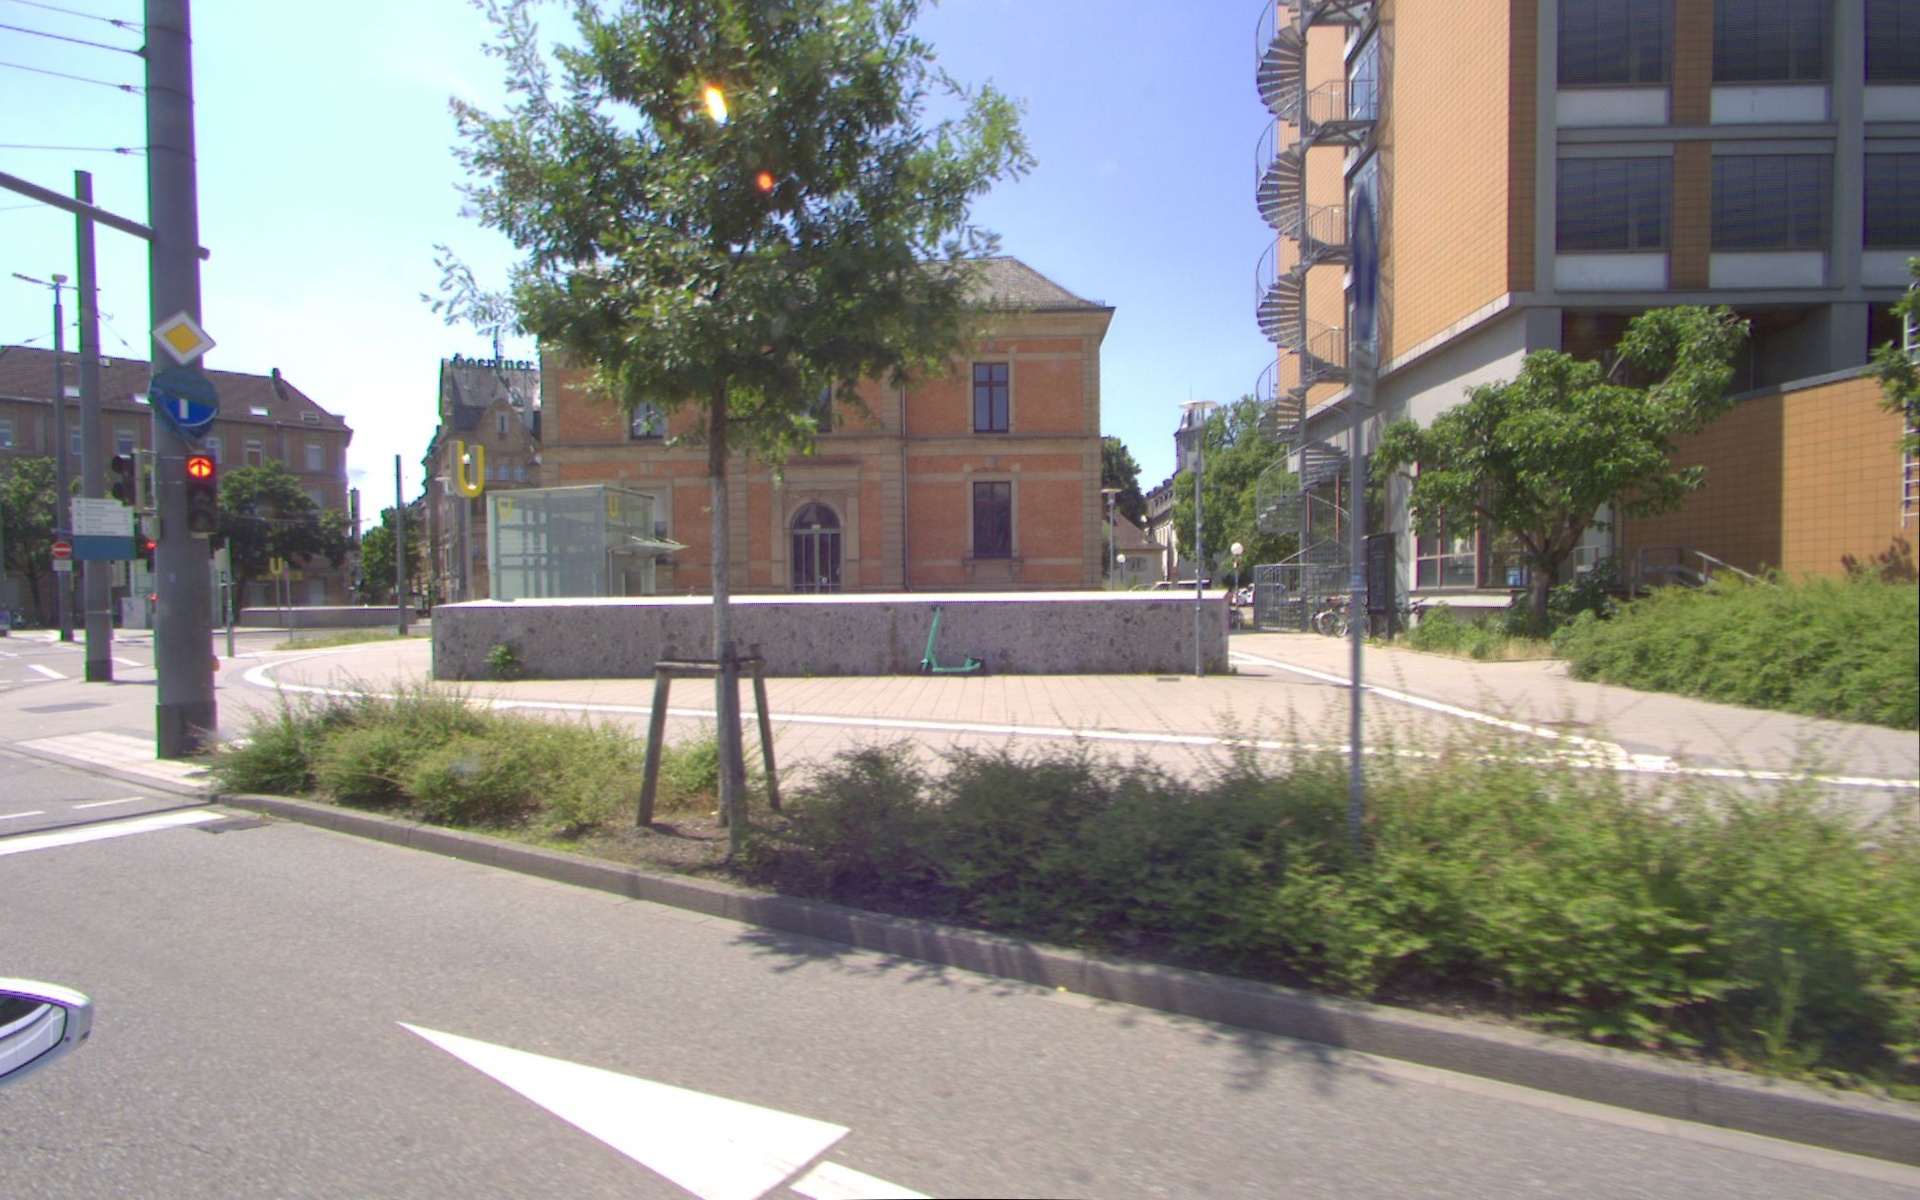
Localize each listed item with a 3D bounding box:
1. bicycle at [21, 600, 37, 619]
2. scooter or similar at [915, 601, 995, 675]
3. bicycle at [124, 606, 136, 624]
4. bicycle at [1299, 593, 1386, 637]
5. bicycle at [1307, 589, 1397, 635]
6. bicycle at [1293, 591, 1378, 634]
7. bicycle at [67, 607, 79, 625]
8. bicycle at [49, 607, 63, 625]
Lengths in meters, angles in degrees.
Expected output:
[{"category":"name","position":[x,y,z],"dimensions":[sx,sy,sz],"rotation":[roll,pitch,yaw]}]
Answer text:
[{"category":"bicycle","position":[-58.398,0.581,62.789],"dimensions":[2.068,1.160,0.441],"rotation":[-2,-2,39]},{"category":"scooter or similar","position":[-0.080,0.611,16.296],"dimensions":[1.227,1.186,0.458],"rotation":[0,1,12]},{"category":"bicycle","position":[-54.866,0.997,66.203],"dimensions":[0.547,1.135,1.912],"rotation":[-1,1,-42]},{"category":"bicycle","position":[10.755,0.432,28.204],"dimensions":[2.175,1.234,0.637],"rotation":[0,-1,4]},{"category":"bicycle","position":[10.700,0.348,27.373],"dimensions":[2.175,1.234,0.637],"rotation":[0,-1,4]},{"category":"bicycle","position":[10.834,0.367,28.941],"dimensions":[2.175,1.234,0.637],"rotation":[0,-1,4]},{"category":"bicycle","position":[-56.508,1.000,63.804],"dimensions":[0.547,1.135,1.803],"rotation":[-1,1,-42]},{"category":"bicycle","position":[-57.053,1.002,63.192],"dimensions":[0.547,1.135,1.801],"rotation":[-1,1,-45]}]
